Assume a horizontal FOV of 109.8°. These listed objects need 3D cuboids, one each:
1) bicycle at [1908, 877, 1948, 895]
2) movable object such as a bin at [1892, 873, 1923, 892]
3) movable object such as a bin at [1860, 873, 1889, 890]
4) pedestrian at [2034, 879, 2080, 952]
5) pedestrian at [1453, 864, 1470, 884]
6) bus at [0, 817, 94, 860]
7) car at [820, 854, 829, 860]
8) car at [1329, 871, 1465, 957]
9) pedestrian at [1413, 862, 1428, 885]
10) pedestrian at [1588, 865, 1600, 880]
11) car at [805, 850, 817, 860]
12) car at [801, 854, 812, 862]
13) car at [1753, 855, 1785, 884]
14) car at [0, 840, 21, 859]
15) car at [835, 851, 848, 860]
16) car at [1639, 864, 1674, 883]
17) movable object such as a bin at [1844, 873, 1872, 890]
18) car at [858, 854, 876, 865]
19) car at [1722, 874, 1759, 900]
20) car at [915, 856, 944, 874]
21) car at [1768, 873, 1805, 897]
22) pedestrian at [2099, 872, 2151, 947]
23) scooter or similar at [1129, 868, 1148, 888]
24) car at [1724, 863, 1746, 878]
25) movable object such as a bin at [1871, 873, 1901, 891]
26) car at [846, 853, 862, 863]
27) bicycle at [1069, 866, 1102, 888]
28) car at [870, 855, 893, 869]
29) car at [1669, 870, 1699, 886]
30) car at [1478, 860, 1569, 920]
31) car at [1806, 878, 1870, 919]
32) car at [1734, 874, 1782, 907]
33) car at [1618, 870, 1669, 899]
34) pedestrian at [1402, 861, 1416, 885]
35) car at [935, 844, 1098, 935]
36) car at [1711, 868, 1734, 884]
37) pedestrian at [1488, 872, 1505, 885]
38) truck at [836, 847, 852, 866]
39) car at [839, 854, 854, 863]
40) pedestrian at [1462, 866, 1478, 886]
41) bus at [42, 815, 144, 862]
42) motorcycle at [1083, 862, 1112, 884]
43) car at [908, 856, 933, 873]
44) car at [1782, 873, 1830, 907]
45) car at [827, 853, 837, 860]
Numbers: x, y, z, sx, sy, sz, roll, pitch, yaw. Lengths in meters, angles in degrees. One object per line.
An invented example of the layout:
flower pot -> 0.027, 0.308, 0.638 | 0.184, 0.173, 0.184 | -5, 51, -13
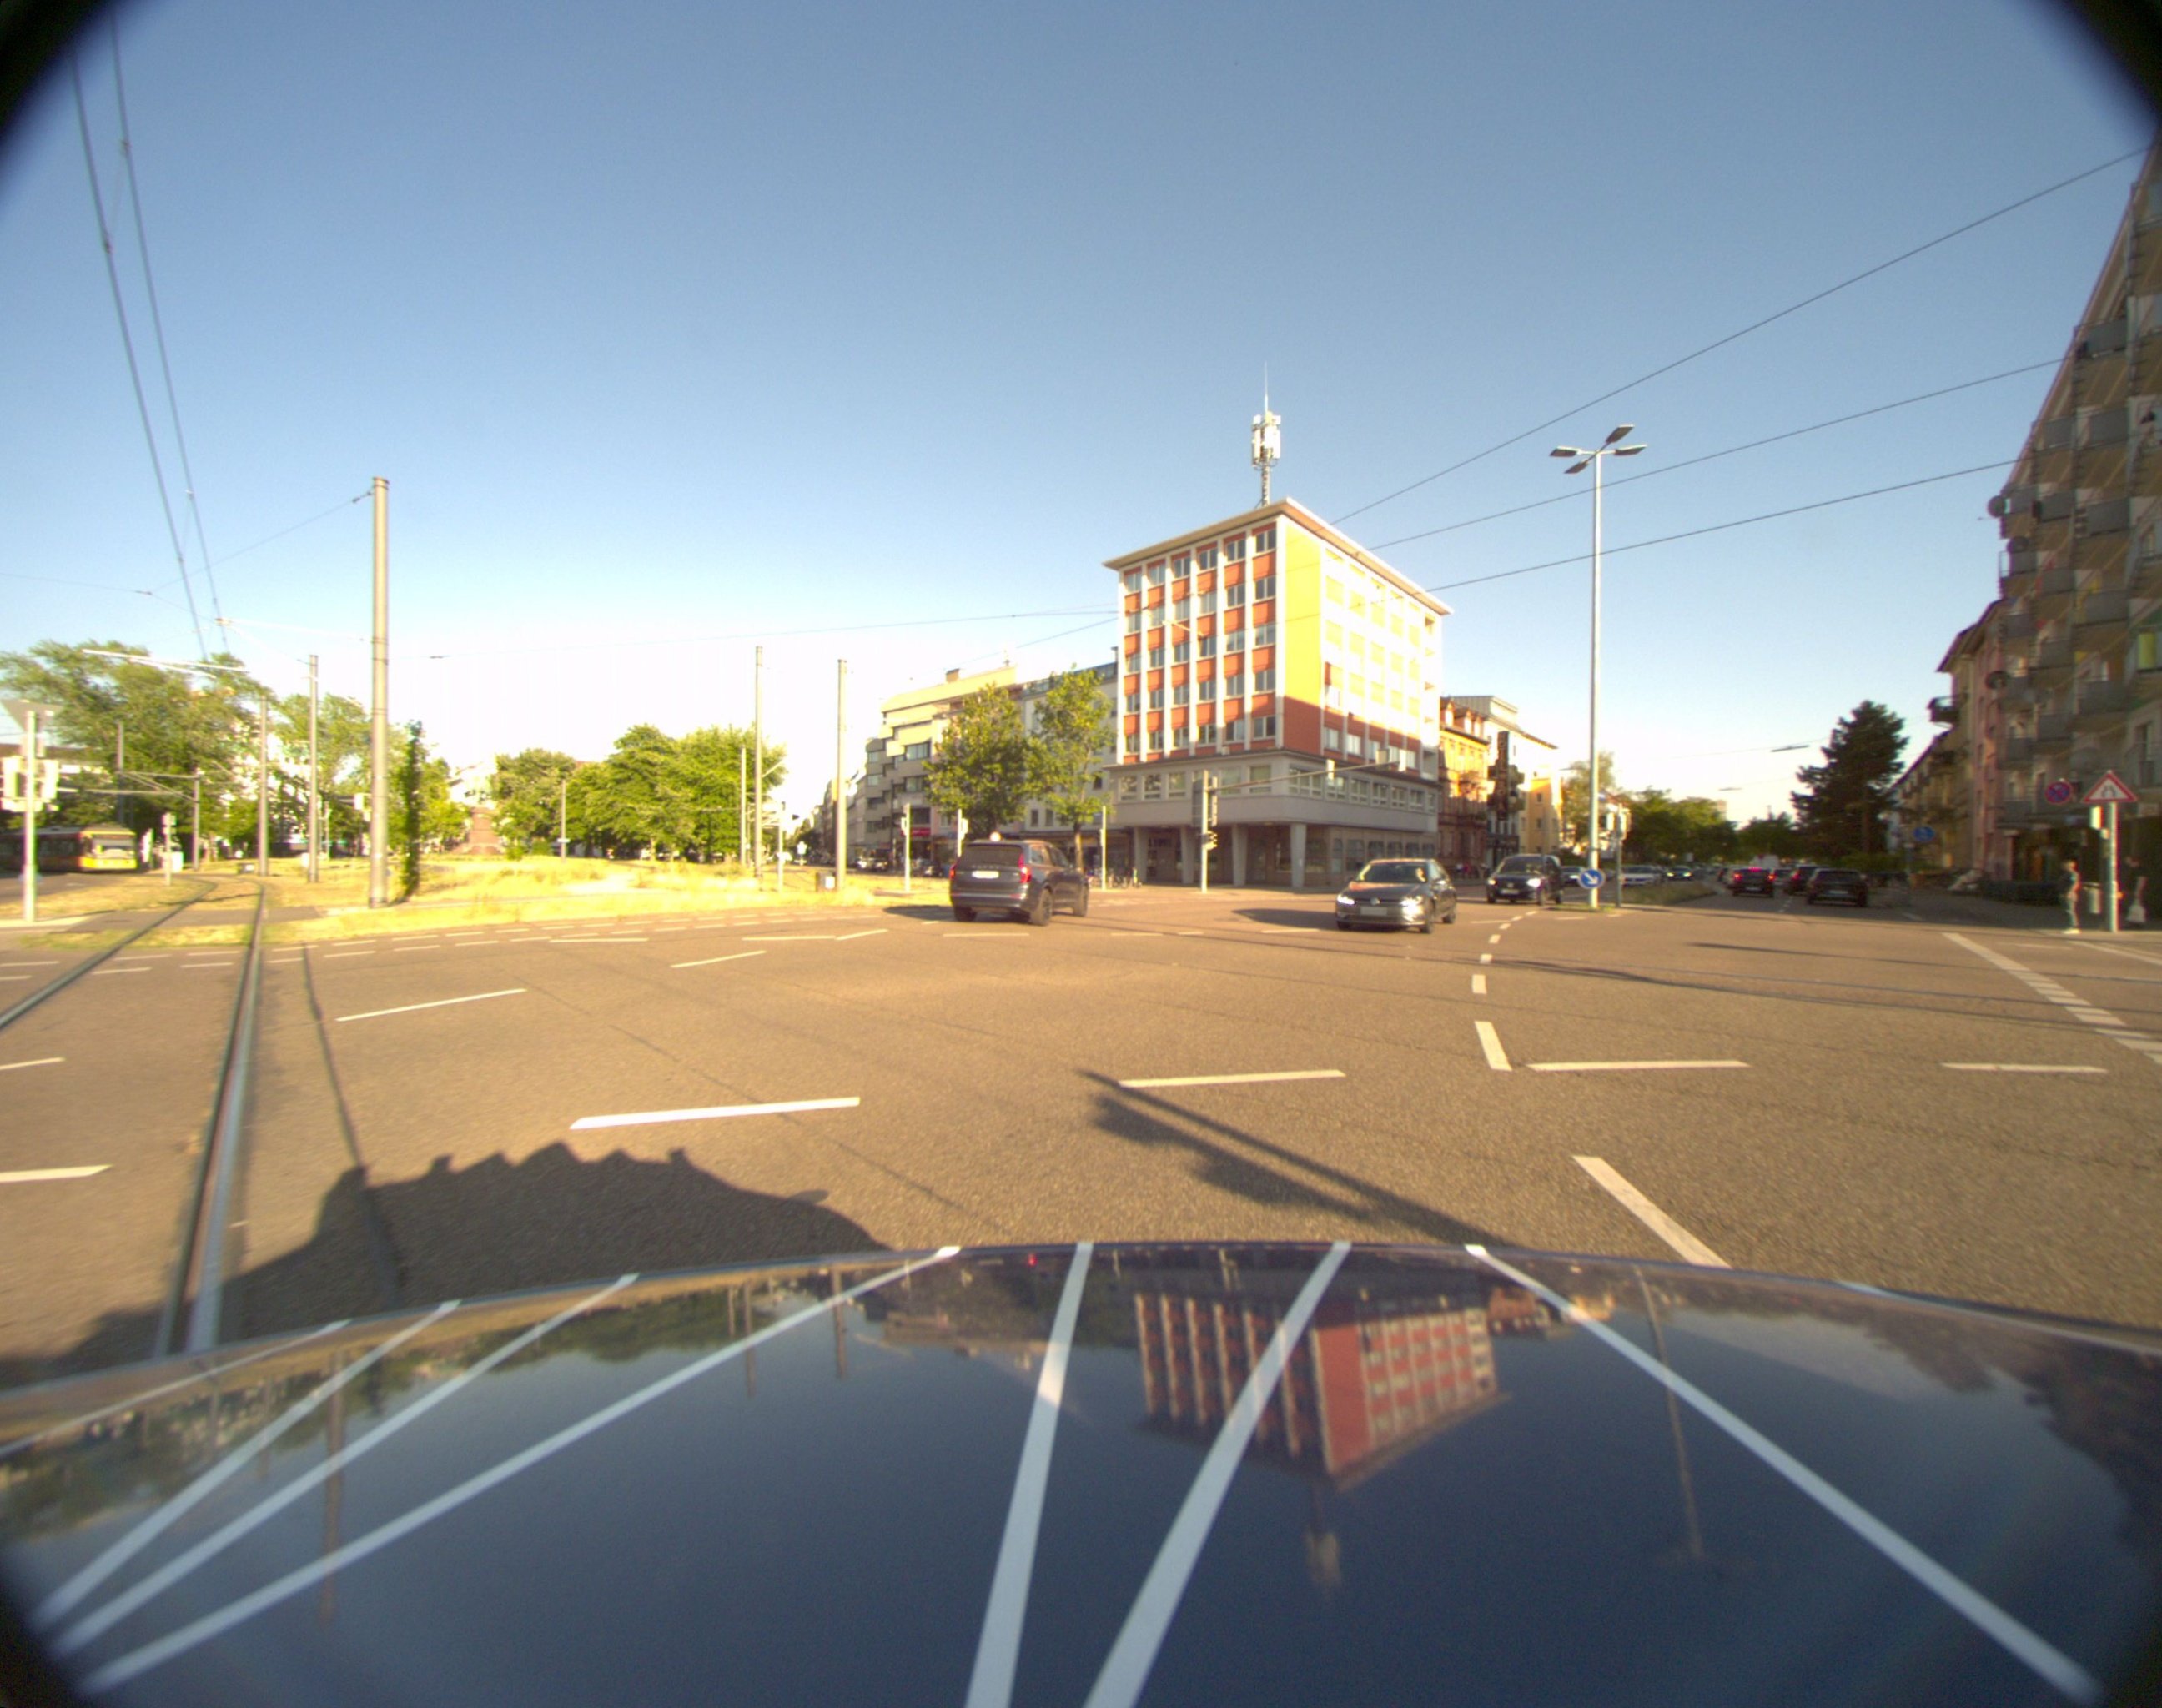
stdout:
bicycle -> 57.993, 2.201, 52.060 | 1.776, 1.184, 0.474 | 1, 0, 42
movable object such as a bin -> 57.684, 1.985, 53.050 | 1.192, 1.225, 0.849 | 1, 0, 5
movable object such as a bin -> 58.271, 2.016, 55.777 | 1.192, 1.225, 0.849 | 1, 0, 5
pedestrian -> 24.586, 1.527, 19.152 | 0.814, 1.776, 0.609 | 0, -2, -42
pedestrian -> 31.866, 1.645, 63.645 | 1.013, 1.580, 0.784 | 1, 4, -37
bus -> -81.626, -1.231, 59.898 | 11.051, 3.191, 2.357 | 1, 1, 26
car -> -58.213, 0.591, 172.456 | 1.498, 1.366, 3.417 | 1, 0, -24
car -> 6.764, 1.137, 15.994 | 1.767, 1.450, 4.279 | 1, 0, 35
pedestrian -> 25.475, 1.435, 56.975 | 1.013, 1.716, 0.666 | 0, 1, -44
pedestrian -> 54.330, 1.940, 80.464 | 1.013, 1.593, 0.736 | 1, 3, -41
car -> -47.646, 0.145, 133.909 | 1.652, 1.803, 3.481 | 1, 0, -24
car -> -52.672, 0.777, 145.840 | 1.680, 1.316, 3.769 | 1, 0, -24
car -> 70.014, 1.562, 77.287 | 2.130, 2.741, 4.476 | 3, 2, 44
car -> -107.008, -0.440, 75.271 | 3.988, 1.807, 1.849 | 1, 1, 43
car -> -42.819, 0.272, 135.698 | 1.773, 1.692, 3.572 | 1, 0, -24
car -> 49.615, 1.648, 65.511 | 1.902, 1.532, 4.009 | 1, 1, 44
movable object such as a bin -> 58.006, 2.028, 56.739 | 1.193, 1.225, 0.849 | 1, 0, -3
car -> -27.279, 0.693, 96.831 | 1.742, 1.376, 3.384 | 1, 0, -24
car -> 44.050, 2.159, 50.790 | 1.675, 1.536, 3.815 | 3, 1, 39
car -> -12.708, 0.932, 63.629 | 1.643, 1.419, 3.628 | 1, 0, -24
car -> 49.999, 2.176, 53.900 | 1.675, 1.536, 3.646 | 3, 1, 39
pedestrian -> 26.511, 1.395, 19.308 | 0.814, 1.864, 0.609 | 0, -2, -44
scooter or similar -> 3.739, 1.559, 49.254 | 0.485, 1.228, 1.558 | 1, 1, -26
car -> 73.898, 1.879, 85.880 | 1.719, 1.619, 4.112 | 3, 1, 42
movable object such as a bin -> 58.150, 2.006, 54.902 | 1.192, 1.225, 0.849 | 1, 0, 5
car -> -32.779, 0.599, 109.455 | 1.742, 1.376, 3.616 | 1, 0, -24
bicycle -> 0.257, 1.287, 43.409 | 1.971, 1.109, 0.595 | 3, 2, 43
car -> -22.904, 0.938, 87.038 | 1.967, 1.547, 3.865 | 1, 0, -24
car -> 60.237, 2.367, 75.908 | 1.902, 1.532, 4.009 | 1, 1, 44
car -> 15.631, 1.185, 26.731 | 1.890, 1.843, 4.476 | 3, 1, 41
car -> 32.048, 1.844, 32.228 | 1.795, 1.556, 4.157 | 2, 0, 44
car -> 35.028, 1.845, 39.306 | 3.485, 1.536, 1.578 | 1, 1, -45
car -> 33.339, 1.769, 45.012 | 1.902, 1.532, 4.009 | 1, 1, 44
pedestrian -> 24.862, 1.434, 57.585 | 0.666, 1.716, 1.013 | 2, 1, 44
car -> -1.231, 0.639, 17.154 | 1.996, 1.714, 5.036 | 1, 1, 16
car -> 65.548, 2.234, 77.657 | 1.675, 1.536, 4.112 | 3, 1, 40
pedestrian -> 37.881, 2.246, 69.272 | 1.097, 1.129, 0.927 | 1, 0, 43
truck -> -40.369, 0.369, 129.356 | 1.742, 3.201, 6.394 | 1, 0, -24
car -> -37.686, 0.764, 122.098 | 1.742, 1.376, 3.616 | 1, 0, -24
pedestrian -> 32.275, 1.816, 63.047 | 1.013, 1.580, 0.736 | 1, 4, -37
bus -> -71.699, -1.084, 55.044 | 11.088, 3.191, 2.415 | 1, 1, 27
motorcycle -> 1.077, 1.180, 48.870 | 0.841, 1.384, 2.271 | 0, -1, 33
car -> -15.619, 0.990, 73.791 | 1.643, 1.537, 3.628 | 1, 0, -24
car -> 41.006, 1.996, 43.042 | 1.816, 1.701, 4.797 | 3, 1, 42
car -> -53.930, 0.550, 164.474 | 1.809, 1.586, 3.670 | 1, 0, -24
